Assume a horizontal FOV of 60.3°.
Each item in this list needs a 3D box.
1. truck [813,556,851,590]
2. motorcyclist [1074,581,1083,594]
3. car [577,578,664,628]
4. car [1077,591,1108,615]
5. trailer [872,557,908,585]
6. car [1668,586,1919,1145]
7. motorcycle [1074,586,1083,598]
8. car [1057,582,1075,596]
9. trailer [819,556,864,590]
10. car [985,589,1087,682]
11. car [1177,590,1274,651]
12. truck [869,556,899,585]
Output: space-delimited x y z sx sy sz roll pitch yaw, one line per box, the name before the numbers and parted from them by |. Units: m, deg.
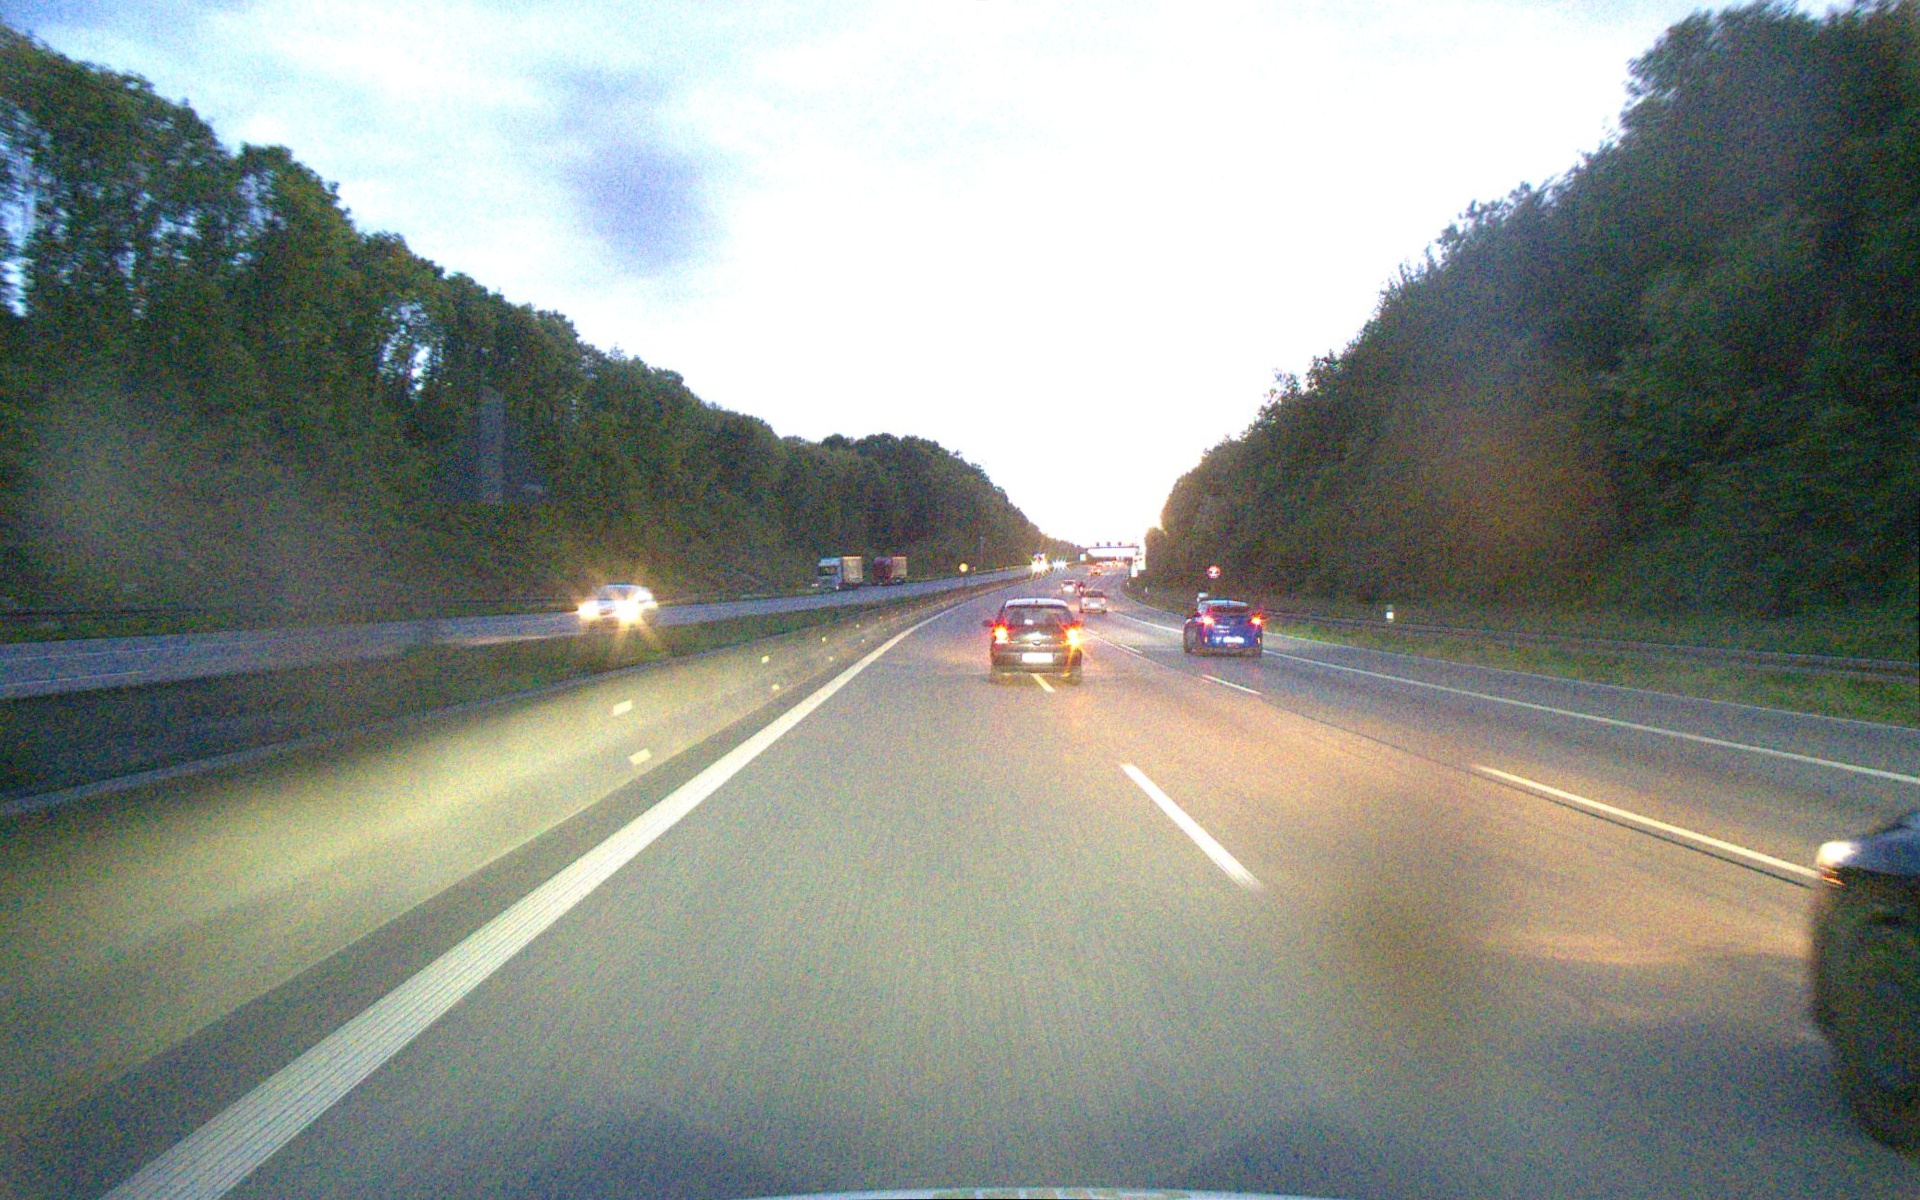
truck | -15.696 -3.321 203.667 3.123 4.176 7.696 0 1 7
motorcyclist | 12.187 -1.269 170.242 0.812 1.314 1.191 -1 1 6
car | -10.802 0.091 52.890 1.782 1.505 4.371 1 0 1
car | 8.592 0.205 107.224 1.788 1.501 4.400 1 0 2
trailer | -10.522 -4.340 249.952 3.123 4.176 14.195 0 1 7
car | 3.480 0.735 3.527 1.657 1.516 4.947 1 0 -2
motorcycle | 12.204 -0.805 170.313 0.812 1.154 2.478 -1 1 6
car | 12.010 -1.275 187.845 1.826 1.520 4.400 1 0 2
trailer | -14.961 -3.468 210.039 3.123 4.176 13.751 0 1 7
car | 1.316 0.587 29.962 1.669 1.535 4.232 1 0 1
car | 7.071 0.514 44.481 1.827 1.460 4.584 1 1 0
truck | -11.200 -4.313 244.387 3.123 4.176 7.696 0 1 7
